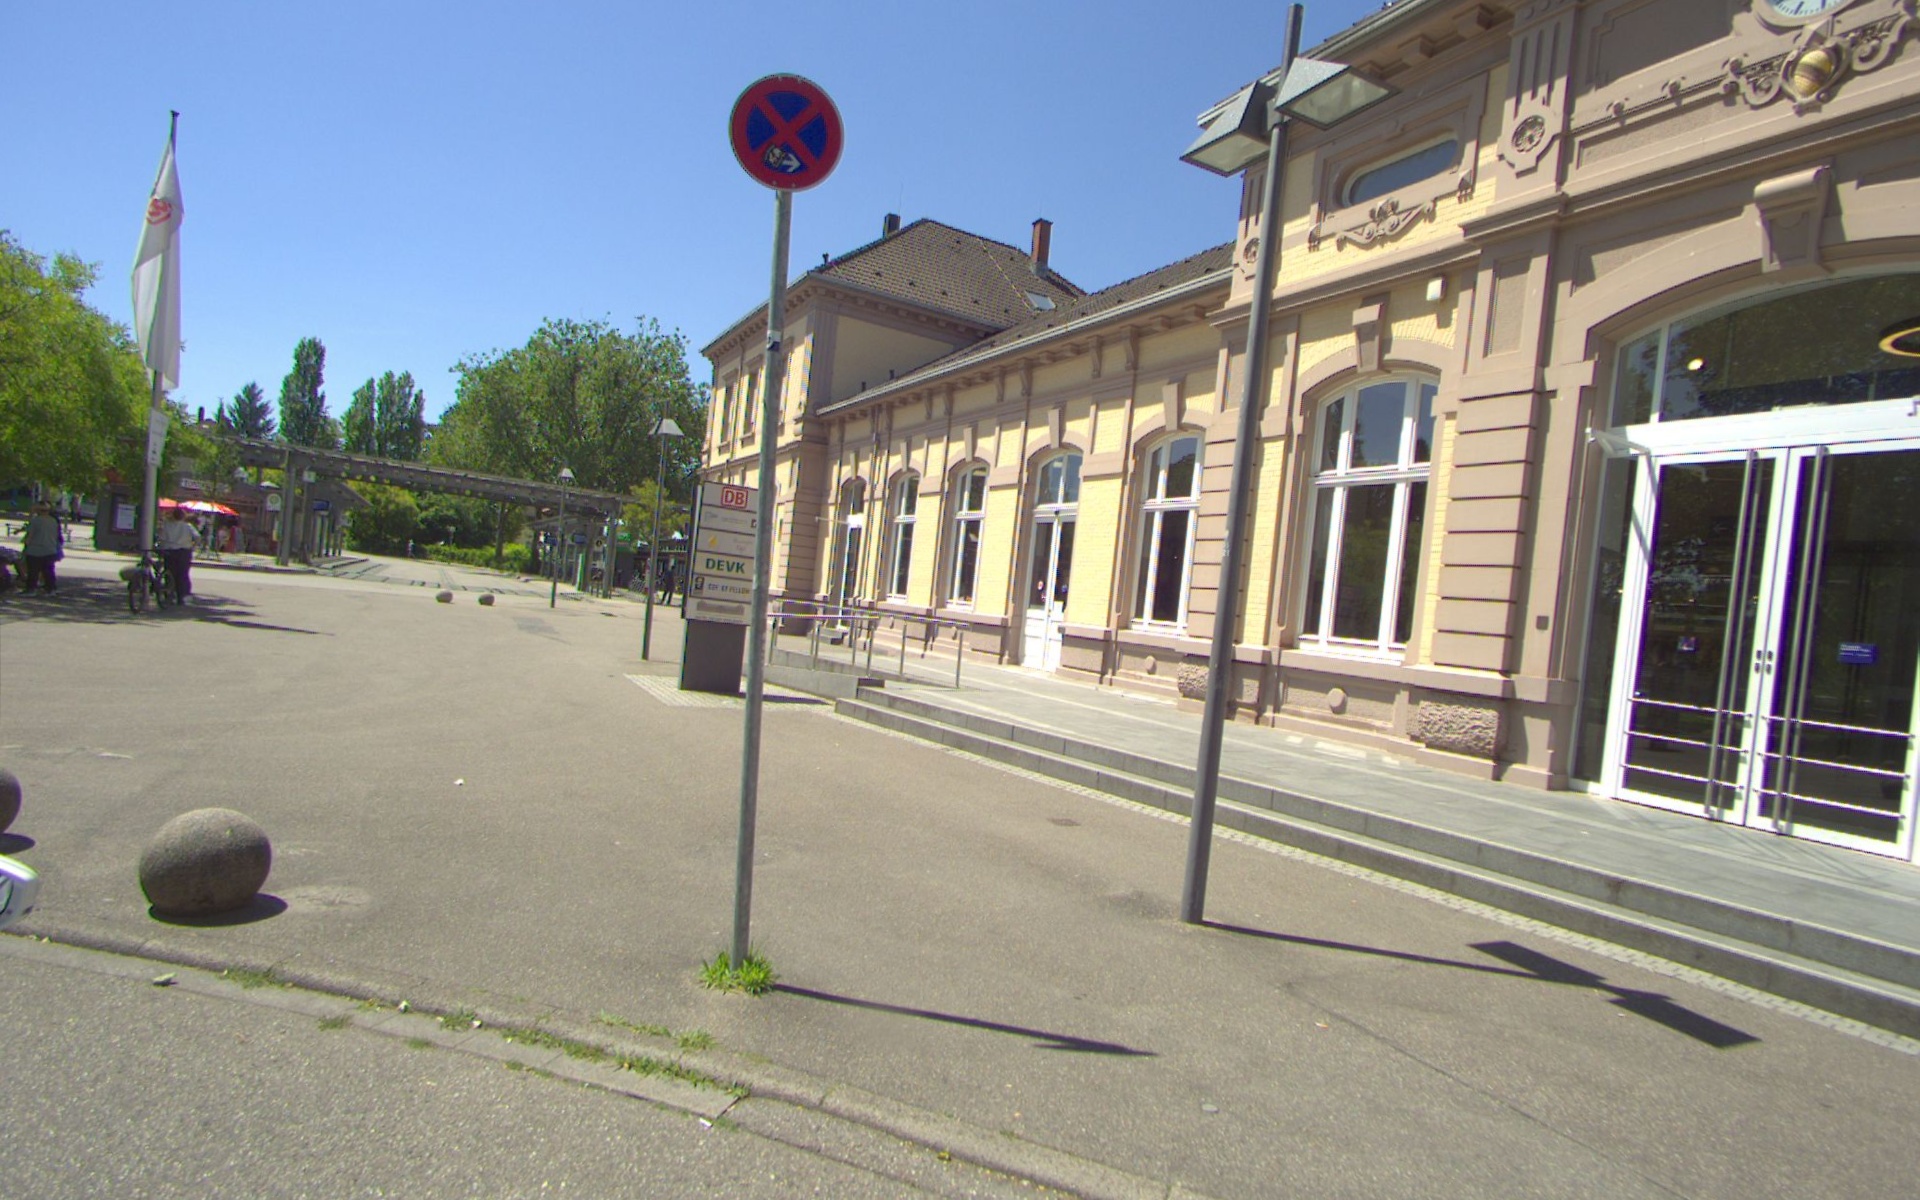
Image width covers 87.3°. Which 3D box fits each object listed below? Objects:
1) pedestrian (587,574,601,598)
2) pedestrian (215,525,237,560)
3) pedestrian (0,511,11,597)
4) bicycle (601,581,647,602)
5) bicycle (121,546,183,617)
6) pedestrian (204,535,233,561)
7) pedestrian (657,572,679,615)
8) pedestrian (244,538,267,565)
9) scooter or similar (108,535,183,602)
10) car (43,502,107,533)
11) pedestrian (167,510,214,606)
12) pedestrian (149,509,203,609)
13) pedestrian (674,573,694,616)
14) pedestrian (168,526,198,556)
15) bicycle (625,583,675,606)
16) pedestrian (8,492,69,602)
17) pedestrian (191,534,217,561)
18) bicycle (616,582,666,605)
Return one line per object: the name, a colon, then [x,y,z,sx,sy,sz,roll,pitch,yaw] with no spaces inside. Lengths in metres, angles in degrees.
pedestrian: [-22.322,-0.854,61.410,0.619,1.412,0.672,4,0,-29]
pedestrian: [-38.616,-3.010,52.926,0.680,1.759,0.702,6,0,-28]
pedestrian: [-16.378,-0.829,16.492,0.928,1.403,0.911,6,0,32]
bicycle: [-22.571,-0.556,67.577,2.768,1.015,0.805,10,-3,-31]
bicycle: [-13.354,-0.322,16.660,0.417,1.073,1.934,6,-1,-30]
pedestrian: [-36.854,-2.589,50.001,0.676,1.175,0.894,6,0,27]
pedestrian: [-13.078,-0.274,45.002,0.678,1.831,0.631,6,0,-7]
pedestrian: [-35.364,-2.448,50.502,0.753,1.219,0.732,9,-2,-28]
scooter or similar: [-15.522,-0.596,19.187,1.019,1.153,0.291,6,0,-36]
car: [-83.245,-7.755,94.634,4.789,2.200,2.210,6,0,17]
pedestrian: [-14.341,-0.781,18.746,0.551,1.706,0.581,6,0,-41]
pedestrian: [-14.073,-0.736,18.057,0.615,1.706,0.584,6,0,-41]
pedestrian: [-12.328,-0.232,44.957,0.620,1.831,0.595,6,0,-8]
pedestrian: [-38.147,-2.880,49.388,0.676,1.328,0.894,6,0,27]
bicycle: [-18.905,-0.342,61.382,2.768,1.015,0.805,10,-3,-31]
pedestrian: [-15.399,-0.878,16.813,0.561,1.761,0.511,6,0,32]
pedestrian: [-34.949,-2.419,46.494,0.679,1.175,0.890,6,0,-24]
bicycle: [-19.797,-0.417,62.416,2.768,1.015,0.805,10,-3,-31]
